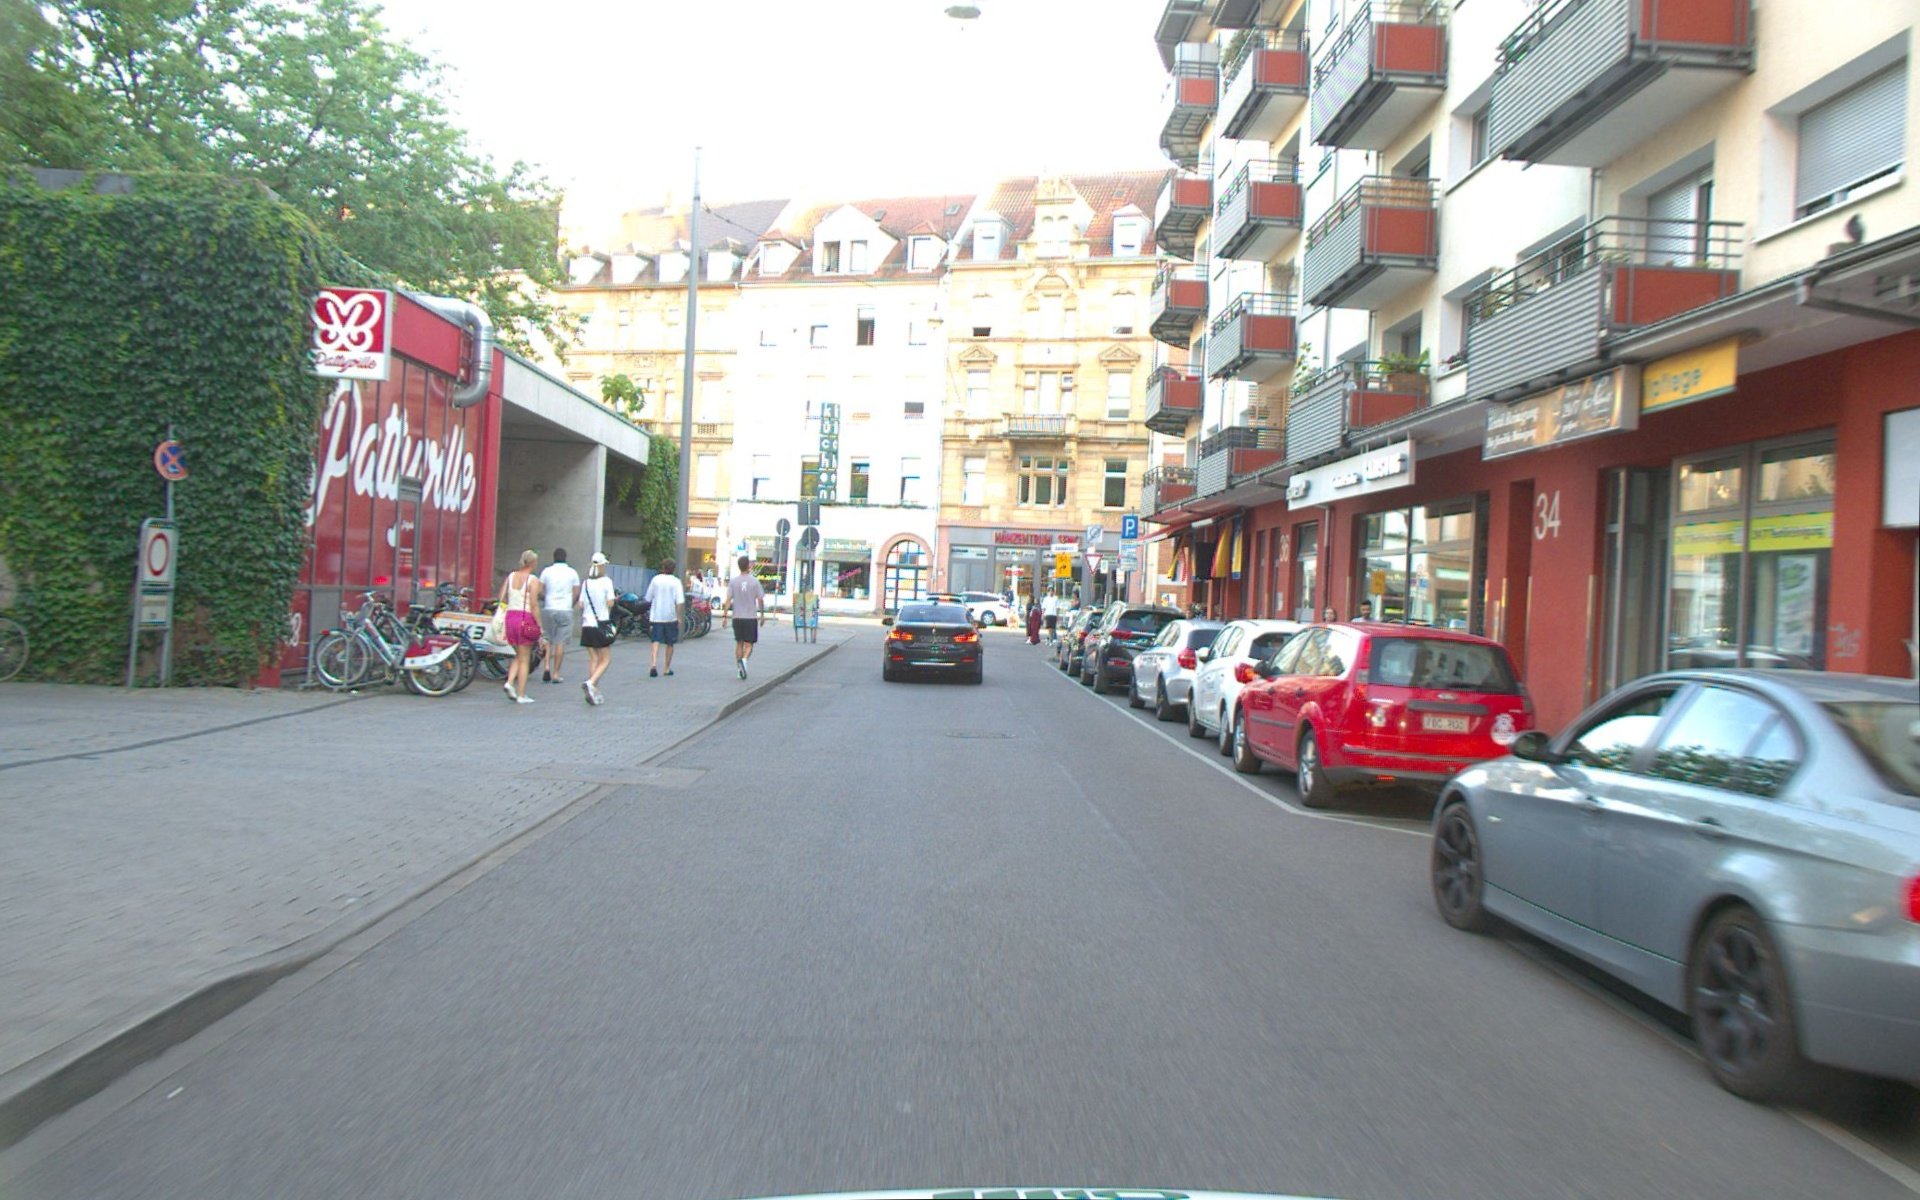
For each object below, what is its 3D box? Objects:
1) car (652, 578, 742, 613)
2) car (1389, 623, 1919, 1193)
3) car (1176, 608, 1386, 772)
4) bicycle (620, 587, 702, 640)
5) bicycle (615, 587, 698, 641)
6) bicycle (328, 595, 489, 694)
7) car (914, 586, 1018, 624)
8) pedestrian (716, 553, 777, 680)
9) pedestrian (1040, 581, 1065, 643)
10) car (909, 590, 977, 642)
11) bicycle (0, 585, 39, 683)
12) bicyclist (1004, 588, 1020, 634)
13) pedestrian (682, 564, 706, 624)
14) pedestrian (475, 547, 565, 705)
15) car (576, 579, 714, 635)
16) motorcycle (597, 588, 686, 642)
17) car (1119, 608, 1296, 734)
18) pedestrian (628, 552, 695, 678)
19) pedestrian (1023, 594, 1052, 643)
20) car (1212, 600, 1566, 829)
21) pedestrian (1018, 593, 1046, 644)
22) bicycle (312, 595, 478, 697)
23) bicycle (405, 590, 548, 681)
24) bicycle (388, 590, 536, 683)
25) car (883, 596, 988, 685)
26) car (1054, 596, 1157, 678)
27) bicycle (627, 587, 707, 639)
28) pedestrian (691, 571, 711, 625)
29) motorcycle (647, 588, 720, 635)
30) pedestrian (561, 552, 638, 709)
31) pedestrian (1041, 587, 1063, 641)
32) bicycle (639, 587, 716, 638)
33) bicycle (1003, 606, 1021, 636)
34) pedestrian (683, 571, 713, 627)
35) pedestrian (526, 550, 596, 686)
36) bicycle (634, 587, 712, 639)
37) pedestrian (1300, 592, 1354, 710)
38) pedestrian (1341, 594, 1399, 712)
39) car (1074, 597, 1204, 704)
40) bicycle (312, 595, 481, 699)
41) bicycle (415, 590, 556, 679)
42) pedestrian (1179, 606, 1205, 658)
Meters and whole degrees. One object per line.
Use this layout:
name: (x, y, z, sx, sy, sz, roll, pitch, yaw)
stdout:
car: (-12.831, -0.215, 80.706, 3.905, 1.537, 1.800, 2, -1, 22)
car: (3.391, 0.946, 6.914, 1.702, 1.439, 4.680, 5, 1, -3)
car: (3.618, 0.948, 19.317, 1.574, 1.538, 4.048, 5, 0, 0)
bicycle: (-7.000, 0.313, 38.758, 1.757, 1.127, 0.500, 4, 0, 1)
bicycle: (-6.986, 0.319, 38.164, 1.758, 1.127, 0.500, 4, 0, -2)
bicycle: (-6.755, 0.540, 20.312, 1.758, 1.127, 0.500, 3, 0, -2)
car: (0.275, 0.231, 75.020, 4.263, 1.589, 1.868, 2, -1, 22)
pedestrian: (-3.358, 0.248, 26.107, 0.729, 1.926, 1.050, 3, 0, 0)
pedestrian: (2.916, 0.380, 52.207, 0.662, 1.910, 0.701, 3, 0, 0)
car: (-0.494, 0.463, 51.598, 1.838, 1.498, 4.002, 2, 0, 3)
bicycle: (-10.834, 0.328, 17.763, 1.626, 1.031, 0.370, 3, 0, 0)
bicyclist: (2.076, 0.429, 65.646, 0.512, 1.787, 0.620, 3, 0, 7)
pedestrian: (-8.512, -0.192, 52.893, 0.571, 1.915, 0.634, 2, 0, 5)
pedestrian: (-5.176, 0.299, 19.514, 0.738, 1.780, 0.846, 4, 0, -2)
car: (-9.290, 0.203, 49.075, 3.913, 1.527, 1.887, 2, 0, -9)
motorcycle: (-7.078, 0.328, 36.729, 1.765, 1.082, 0.764, 4, 0, 25)
car: (3.544, 0.967, 24.493, 1.665, 1.477, 4.456, 5, 1, -3)
pedestrian: (-4.547, 0.221, 25.264, 0.726, 1.844, 1.008, 4, 0, -2)
pedestrian: (2.540, 0.591, 54.252, 0.722, 1.539, 0.649, 4, 0, -10)
car: (3.588, 0.867, 14.782, 1.678, 1.538, 4.650, 5, 1, -3)
pedestrian: (2.391, 0.603, 54.913, 0.711, 1.636, 0.649, 4, 0, -10)
bicycle: (-6.743, 0.544, 19.776, 1.758, 1.127, 0.500, 3, 0, -2)
bicycle: (-6.595, 0.477, 22.588, 1.757, 1.127, 0.500, 3, 0, 2)
bicycle: (-6.600, 0.475, 21.956, 1.757, 1.127, 0.500, 3, 0, 2)
car: (-0.440, 0.693, 30.708, 1.729, 1.398, 4.790, 3, 1, -1)
car: (3.175, 0.772, 36.914, 1.729, 1.528, 4.790, 5, 0, -1)
bicycle: (-6.992, 0.314, 39.508, 1.760, 1.127, 0.499, 4, 0, -6)
pedestrian: (-8.184, -0.057, 52.218, 0.490, 1.672, 0.521, 2, 0, 1)
motorcycle: (-7.144, 0.301, 42.762, 1.731, 1.120, 0.560, 4, 0, -36)
pedestrian: (-4.258, 0.344, 19.595, 0.636, 1.780, 0.985, 3, 0, -2)
pedestrian: (3.119, 0.466, 55.945, 0.592, 1.776, 0.670, 2, 0, 10)
bicycle: (-7.029, 0.306, 41.153, 1.758, 1.127, 0.500, 4, 0, -1)
bicycle: (2.066, 0.824, 65.668, 0.525, 1.127, 1.801, 3, 0, 7)
pedestrian: (-8.509, -0.023, 53.712, 0.661, 1.776, 0.654, 2, 0, 39)
pedestrian: (-5.396, 0.239, 22.399, 0.702, 1.785, 0.848, 2, 0, -2)
bicycle: (-6.966, 0.314, 40.212, 1.759, 1.127, 0.500, 4, 0, -4)
pedestrian: (5.358, 0.736, 24.146, 0.634, 1.690, 0.655, -1, 0, 1)
pedestrian: (5.950, 0.756, 24.019, 0.634, 1.690, 0.794, -1, 0, 1)
car: (3.272, 0.876, 31.025, 1.729, 1.670, 4.790, 5, 0, -1)
bicycle: (-6.611, 0.549, 19.433, 1.758, 1.127, 0.500, 3, 0, -1)
bicycle: (-6.609, 0.478, 23.058, 1.757, 1.127, 0.500, 3, 0, 2)
pedestrian: (6.329, 0.867, 45.137, 0.594, 1.371, 0.696, 1, 0, -2)
